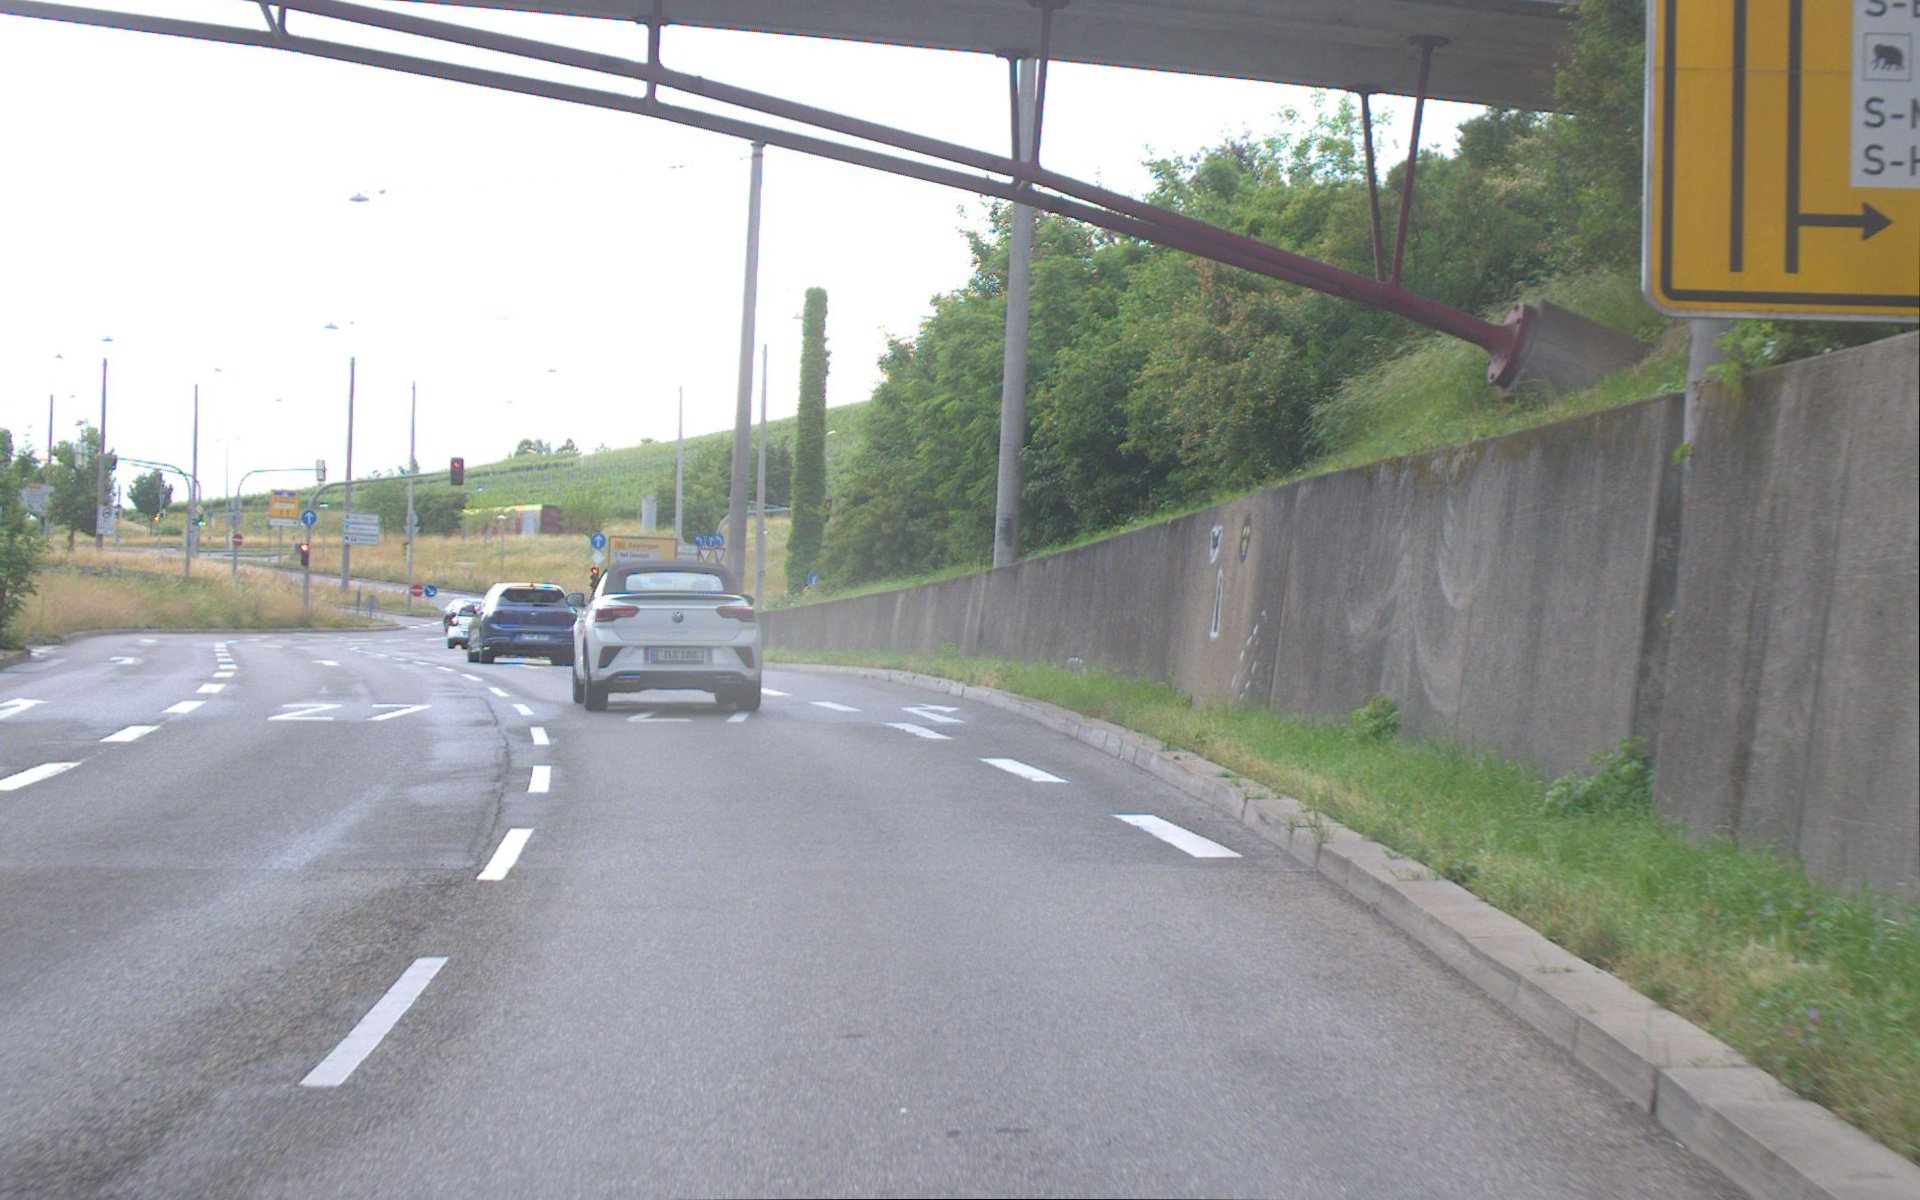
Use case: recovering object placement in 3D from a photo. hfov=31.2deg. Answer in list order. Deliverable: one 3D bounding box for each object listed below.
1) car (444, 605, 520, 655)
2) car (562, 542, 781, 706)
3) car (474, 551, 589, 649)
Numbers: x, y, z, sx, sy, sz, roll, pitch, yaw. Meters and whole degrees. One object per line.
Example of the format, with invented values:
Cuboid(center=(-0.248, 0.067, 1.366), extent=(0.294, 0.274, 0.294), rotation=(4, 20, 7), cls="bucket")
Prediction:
Cuboid(center=(-16.074, 1.024, 115.723), extent=(1.775, 1.514, 3.724), rotation=(4, -1, 3), cls="car")
Cuboid(center=(-3.073, 0.198, 35.917), extent=(1.995, 1.573, 4.127), rotation=(-1, 1, -9), cls="car")
Cuboid(center=(-7.743, 0.034, 61.883), extent=(1.926, 1.594, 4.062), rotation=(3, -2, -8), cls="car")
